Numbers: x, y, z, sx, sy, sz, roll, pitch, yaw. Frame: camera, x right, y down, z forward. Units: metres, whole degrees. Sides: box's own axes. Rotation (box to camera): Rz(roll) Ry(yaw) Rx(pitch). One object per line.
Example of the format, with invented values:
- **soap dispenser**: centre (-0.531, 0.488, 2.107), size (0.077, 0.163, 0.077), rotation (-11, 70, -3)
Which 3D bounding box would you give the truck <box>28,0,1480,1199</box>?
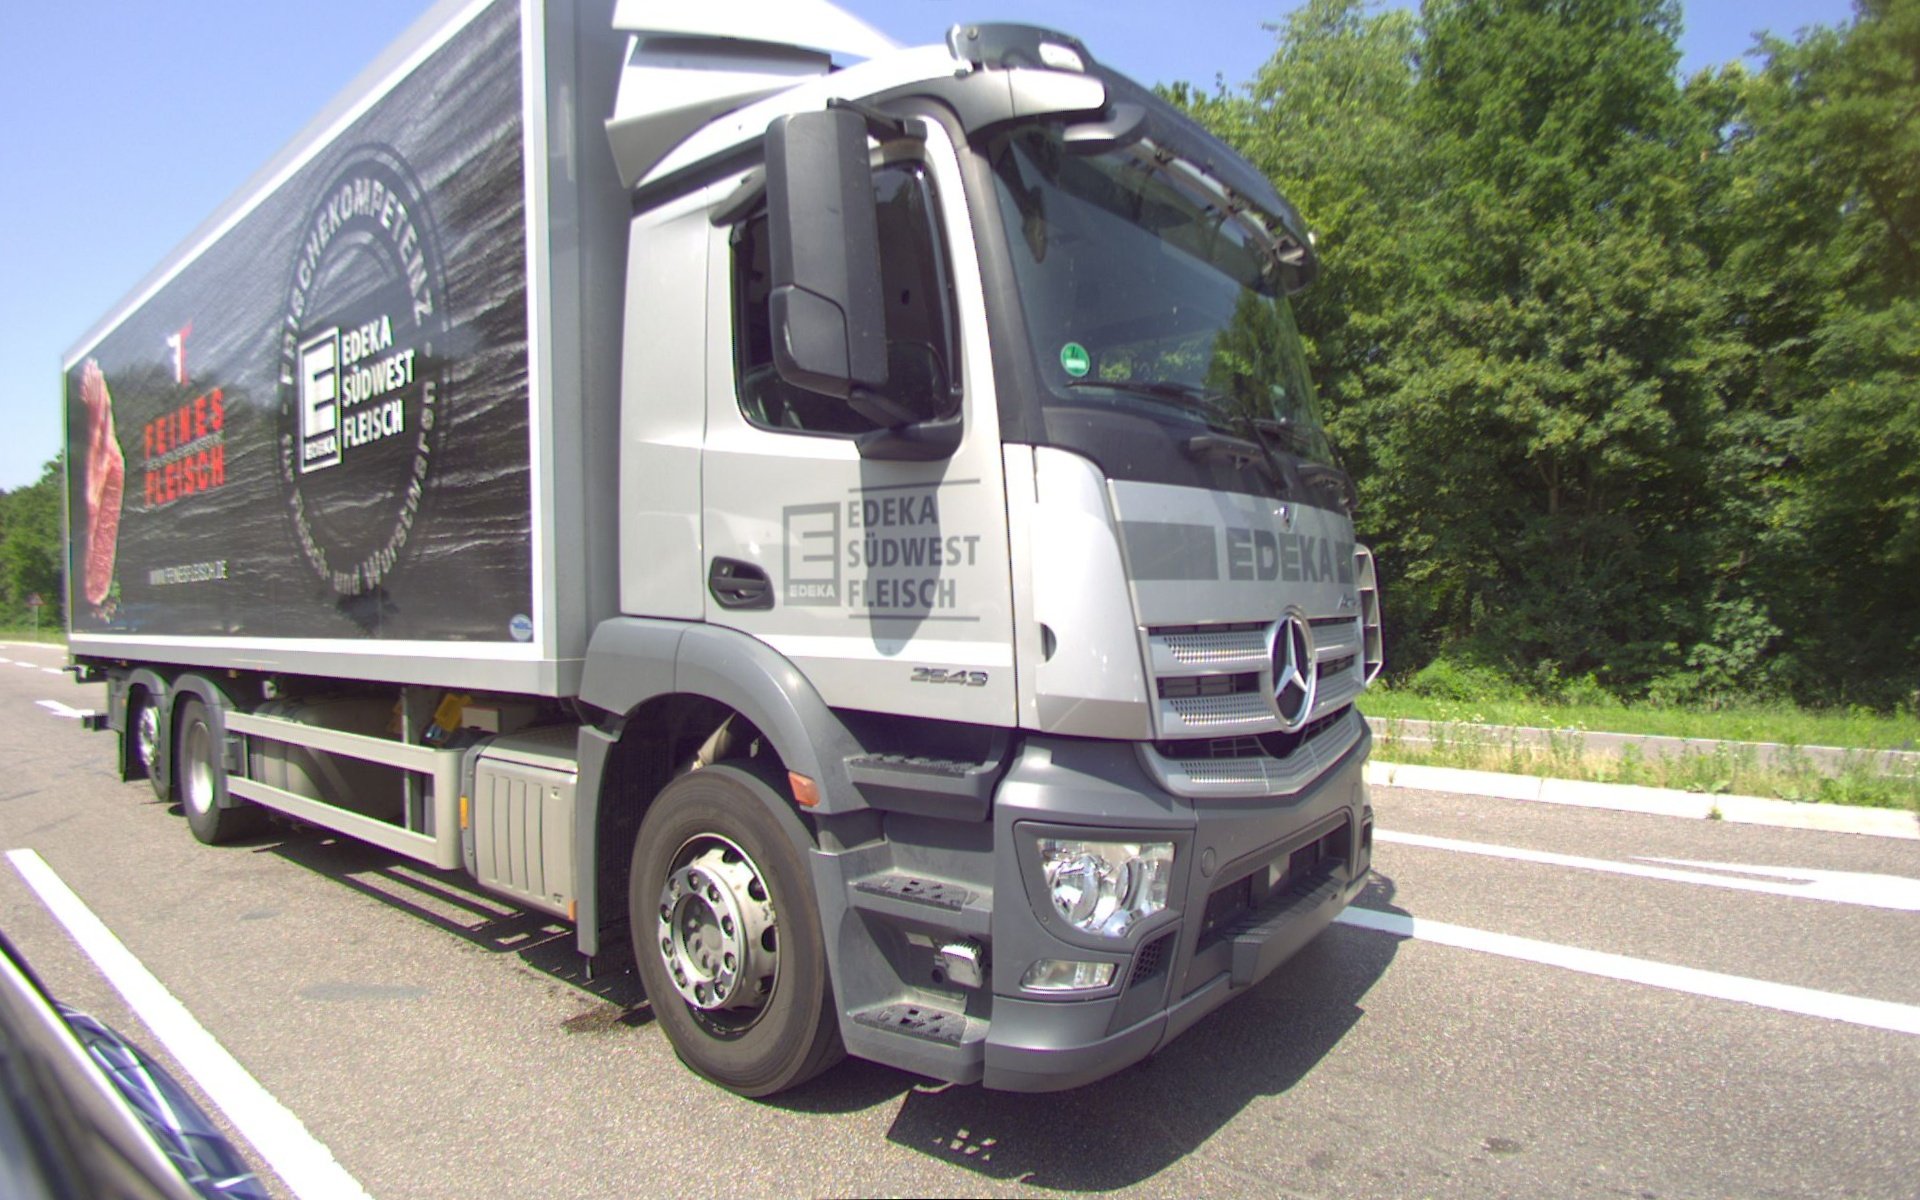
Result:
- **truck**: centre (-3.166, -0.511, 6.589), size (11.309, 3.914, 2.719), rotation (-1, -1, 39)
